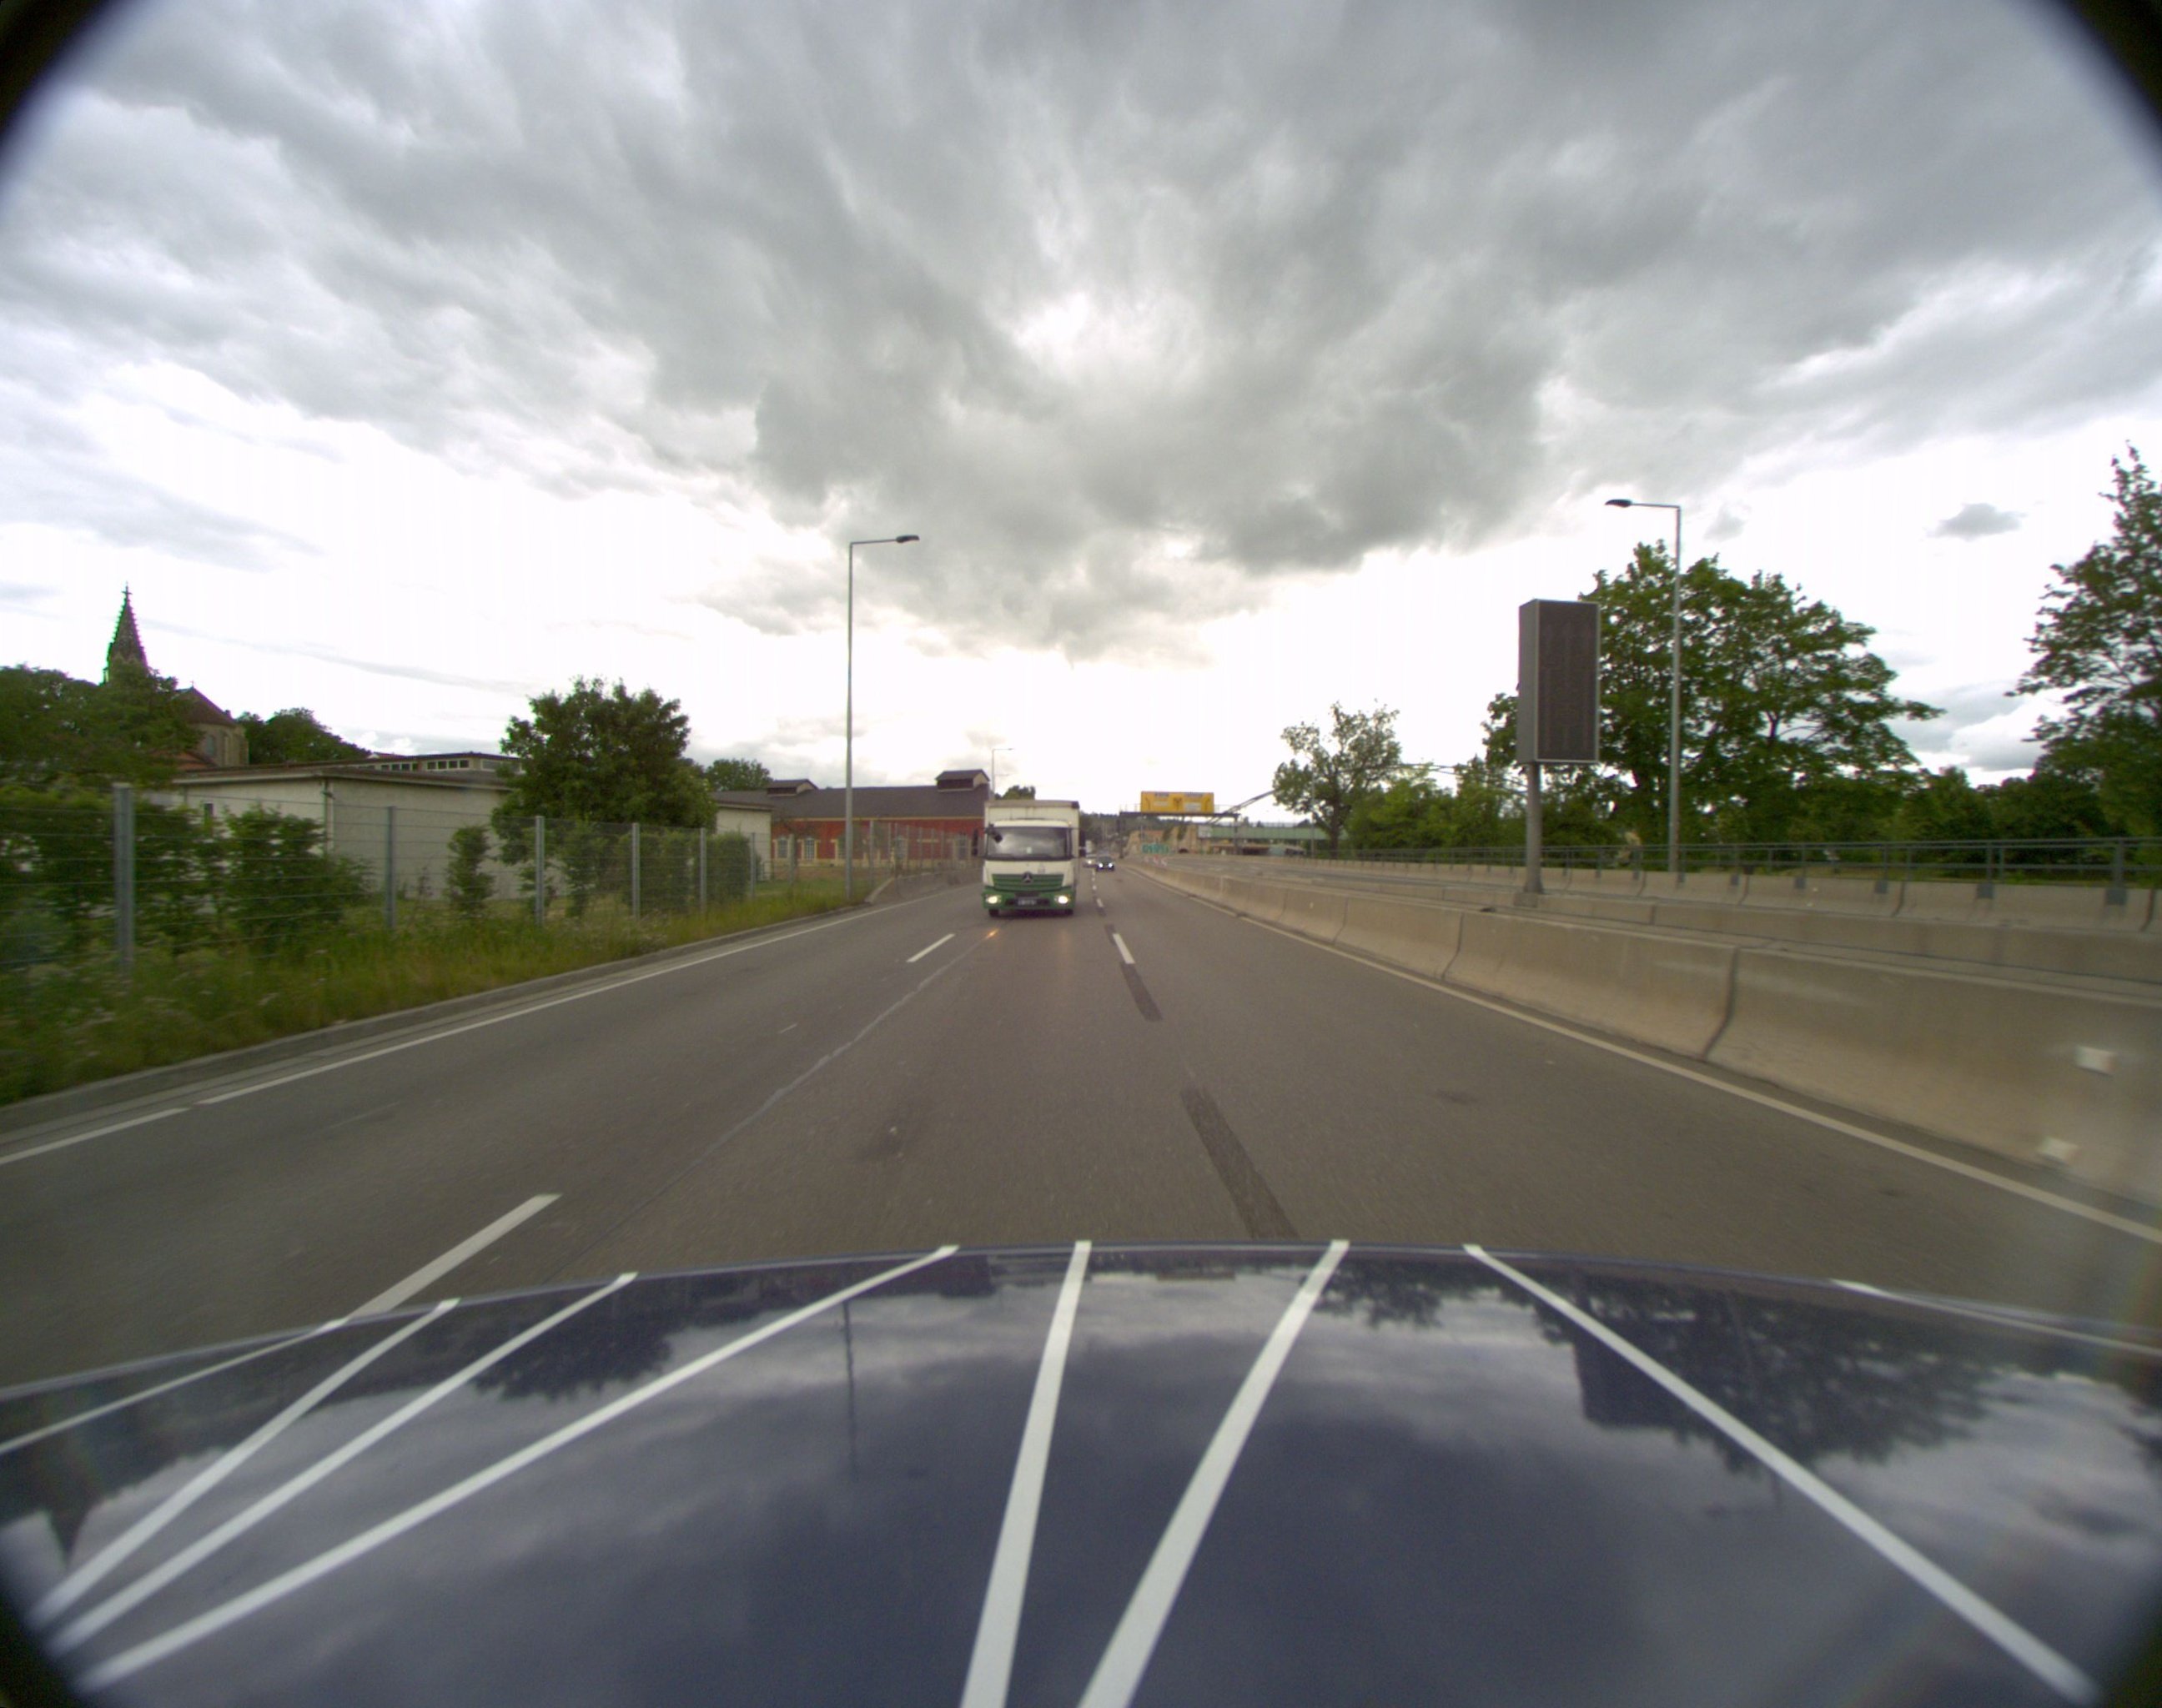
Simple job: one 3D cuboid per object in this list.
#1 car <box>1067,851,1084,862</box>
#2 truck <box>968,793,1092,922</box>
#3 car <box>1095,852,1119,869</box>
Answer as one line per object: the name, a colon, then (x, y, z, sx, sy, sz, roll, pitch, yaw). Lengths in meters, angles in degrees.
car: (-0.806, 0.388, 108.536, 1.999, 1.445, 3.997, -2, 1, -6)
truck: (-1.348, 0.032, 22.801, 2.943, 3.065, 8.384, -2, 1, -1)
car: (2.398, 0.579, 70.533, 1.999, 1.445, 3.999, -2, 1, -1)
